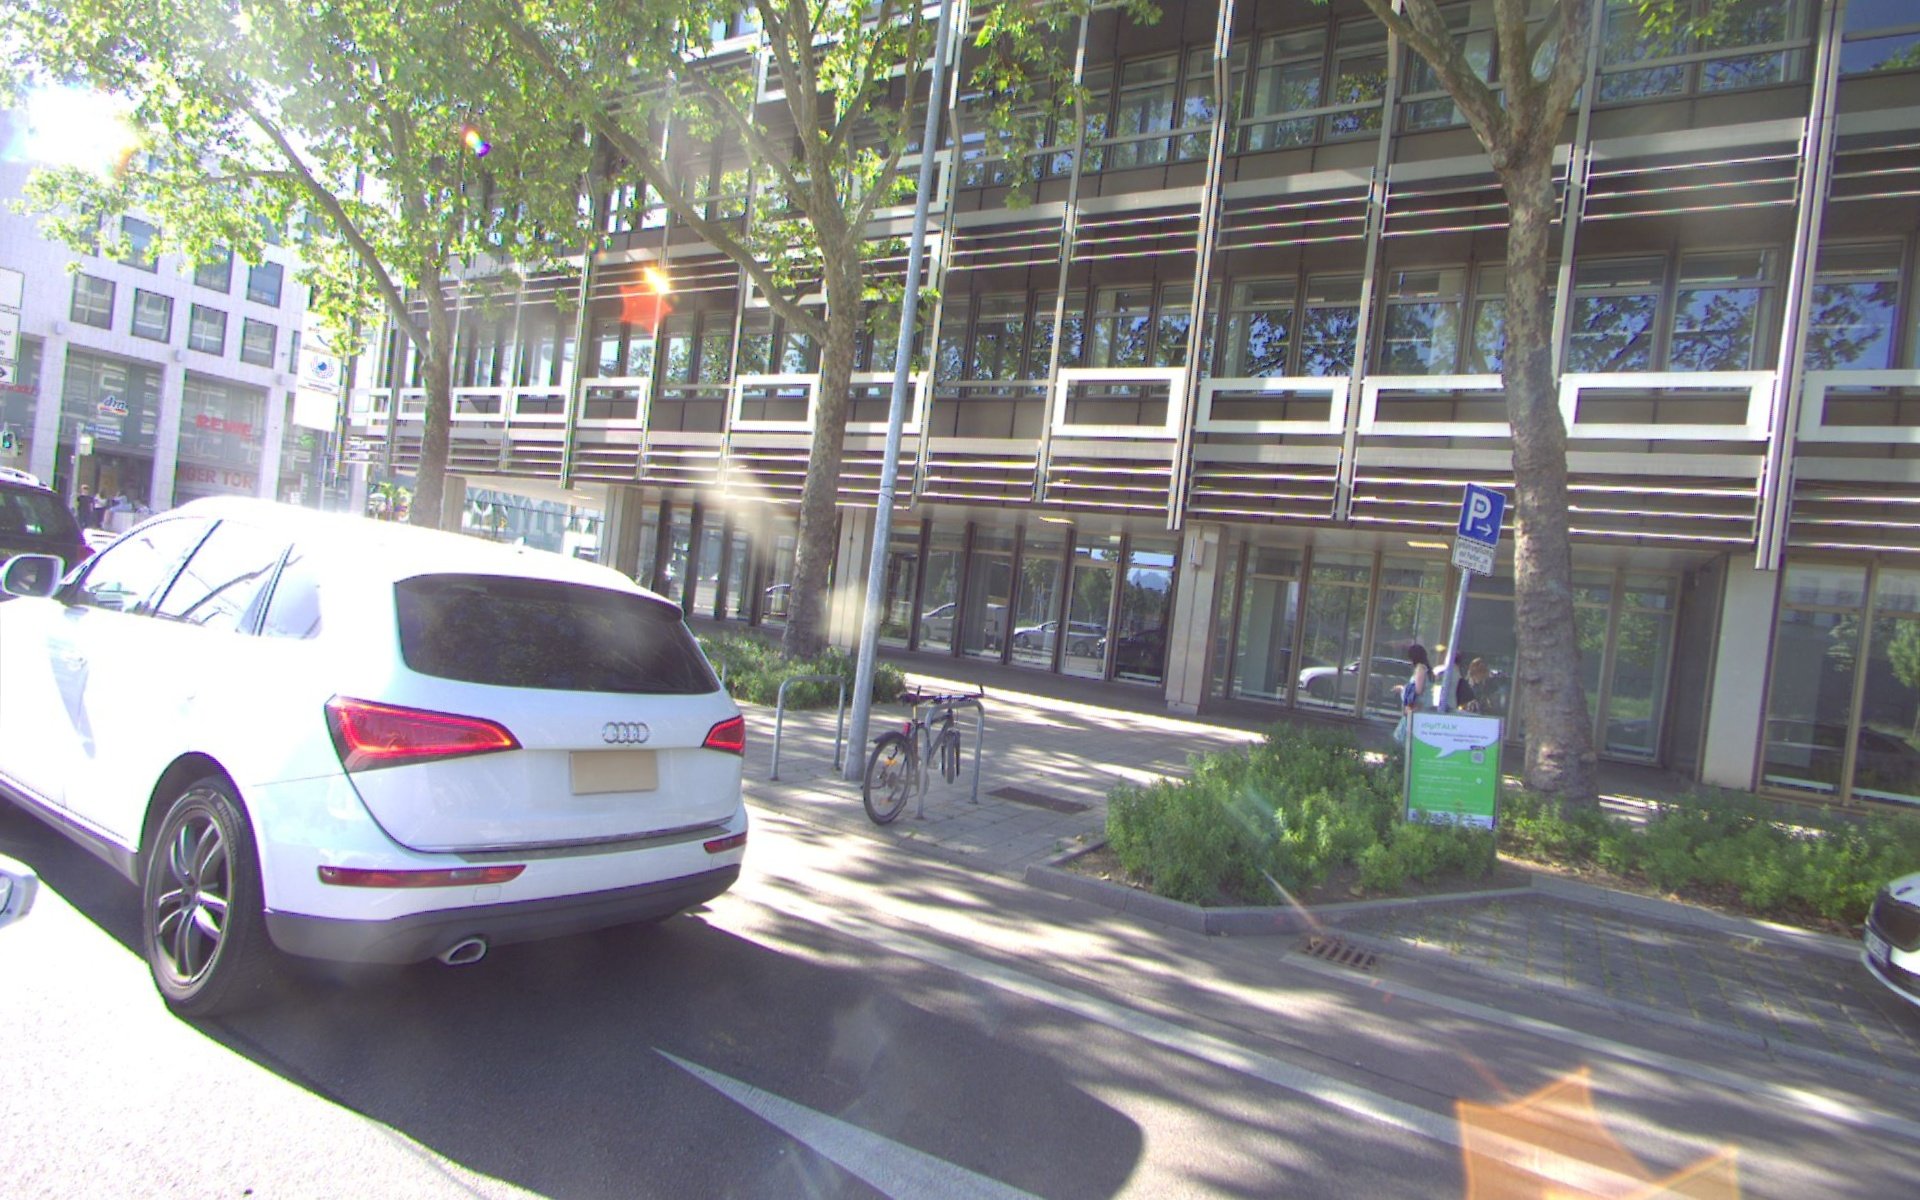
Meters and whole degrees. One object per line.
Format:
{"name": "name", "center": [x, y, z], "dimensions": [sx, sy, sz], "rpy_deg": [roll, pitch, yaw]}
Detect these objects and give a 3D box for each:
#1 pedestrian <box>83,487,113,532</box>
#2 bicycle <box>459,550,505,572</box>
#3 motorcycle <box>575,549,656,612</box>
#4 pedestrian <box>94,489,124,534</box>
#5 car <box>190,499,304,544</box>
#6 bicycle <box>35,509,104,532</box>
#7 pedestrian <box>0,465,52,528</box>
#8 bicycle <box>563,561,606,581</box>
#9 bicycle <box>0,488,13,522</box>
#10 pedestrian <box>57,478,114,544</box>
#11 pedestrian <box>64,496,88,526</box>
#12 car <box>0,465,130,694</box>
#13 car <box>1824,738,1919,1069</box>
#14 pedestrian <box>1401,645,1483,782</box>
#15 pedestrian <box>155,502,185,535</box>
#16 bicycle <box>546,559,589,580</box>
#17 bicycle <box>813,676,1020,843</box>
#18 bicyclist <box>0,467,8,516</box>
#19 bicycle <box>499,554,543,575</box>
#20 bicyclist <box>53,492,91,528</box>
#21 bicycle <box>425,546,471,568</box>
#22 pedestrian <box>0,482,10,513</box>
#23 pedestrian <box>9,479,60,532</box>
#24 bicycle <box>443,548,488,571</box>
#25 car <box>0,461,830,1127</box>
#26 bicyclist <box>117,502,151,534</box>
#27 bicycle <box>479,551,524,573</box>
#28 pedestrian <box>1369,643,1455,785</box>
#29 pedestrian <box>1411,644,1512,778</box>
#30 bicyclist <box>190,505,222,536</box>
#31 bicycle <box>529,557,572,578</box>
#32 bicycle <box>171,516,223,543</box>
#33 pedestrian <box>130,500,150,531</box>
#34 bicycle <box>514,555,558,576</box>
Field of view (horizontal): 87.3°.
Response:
{"name": "pedestrian", "center": [-33.620, -3.515, 39.235], "dimensions": [0.517, 1.634, 0.661], "rpy_deg": [7, 2, 22]}
{"name": "bicycle", "center": [-32.158, -2.599, 67.658], "dimensions": [3.441, 1.107, 1.067], "rpy_deg": [7, 0, 34]}
{"name": "motorcycle", "center": [-9.404, -0.533, 27.457], "dimensions": [2.087, 1.459, 0.824], "rpy_deg": [7, 1, 32]}
{"name": "pedestrian", "center": [-33.025, -3.429, 39.030], "dimensions": [0.517, 1.634, 0.661], "rpy_deg": [7, 2, 22]}
{"name": "car", "center": [-35.323, -3.871, 49.941], "dimensions": [1.831, 1.632, 4.189], "rpy_deg": [5, -1, 33]}
{"name": "bicycle", "center": [-41.705, -3.716, 47.142], "dimensions": [1.055, 0.679, 2.194], "rpy_deg": [7, 0, 35]}
{"name": "pedestrian", "center": [-33.458, -3.677, 35.949], "dimensions": [1.059, 2.038, 0.949], "rpy_deg": [7, 1, 20]}
{"name": "bicycle", "center": [-27.735, -2.142, 74.297], "dimensions": [3.441, 1.107, 1.067], "rpy_deg": [7, 0, 34]}
{"name": "bicycle", "center": [-30.631, -3.064, 31.487], "dimensions": [2.017, 0.997, 0.882], "rpy_deg": [7, 0, 31]}
{"name": "pedestrian", "center": [-29.919, -3.046, 34.415], "dimensions": [1.060, 2.038, 0.949], "rpy_deg": [7, 1, 24]}
{"name": "pedestrian", "center": [-52.073, -5.263, 59.246], "dimensions": [0.737, 1.628, 0.556], "rpy_deg": [7, 1, -5]}
{"name": "car", "center": [-9.118, -0.387, 8.568], "dimensions": [4.339, 1.720, 1.787], "rpy_deg": [7, 0, 32]}
{"name": "car", "center": [7.090, 1.823, 4.515], "dimensions": [4.483, 1.509, 1.749], "rpy_deg": [7, 1, 31]}
{"name": "pedestrian", "center": [6.204, 1.435, 12.948], "dimensions": [0.716, 1.622, 0.666], "rpy_deg": [7, 3, 32]}
{"name": "pedestrian", "center": [-44.763, -4.616, 57.007], "dimensions": [0.846, 1.705, 0.978], "rpy_deg": [7, 1, 29]}
{"name": "bicycle", "center": [-28.393, -2.225, 72.798], "dimensions": [3.441, 1.107, 1.067], "rpy_deg": [7, 0, 34]}
{"name": "bicycle", "center": [-0.272, 1.148, 7.760], "dimensions": [0.699, 0.973, 1.846], "rpy_deg": [7, 2, 26]}
{"name": "bicyclist", "center": [-30.616, -3.469, 31.501], "dimensions": [0.869, 1.495, 0.882], "rpy_deg": [7, 1, 31]}
{"name": "bicycle", "center": [-30.526, -2.483, 69.936], "dimensions": [3.441, 1.107, 1.067], "rpy_deg": [7, 0, 34]}
{"name": "bicyclist", "center": [-41.637, -4.197, 47.173], "dimensions": [1.055, 1.494, 1.022], "rpy_deg": [7, 1, 35]}
{"name": "bicycle", "center": [-33.434, -2.809, 65.704], "dimensions": [3.441, 1.107, 1.067], "rpy_deg": [7, 0, 34]}
{"name": "pedestrian", "center": [-52.109, -5.571, 54.437], "dimensions": [0.547, 1.628, 0.748], "rpy_deg": [8, 2, 30]}
{"name": "pedestrian", "center": [-35.287, -3.595, 38.360], "dimensions": [1.497, 1.825, 0.967], "rpy_deg": [7, 3, 31]}
{"name": "bicycle", "center": [-32.785, -2.692, 66.684], "dimensions": [3.441, 1.107, 1.067], "rpy_deg": [7, 0, 34]}
{"name": "car", "center": [-2.924, 0.392, 4.515], "dimensions": [4.339, 1.633, 1.822], "rpy_deg": [7, 0, 32]}
{"name": "bicyclist", "center": [-40.570, -4.025, 49.390], "dimensions": [1.059, 1.413, 0.933], "rpy_deg": [7, 1, 35]}
{"name": "bicycle", "center": [-31.382, -2.608, 68.873], "dimensions": [3.441, 1.107, 1.067], "rpy_deg": [7, 0, 34]}
{"name": "pedestrian", "center": [5.619, 1.381, 12.498], "dimensions": [0.716, 1.622, 0.666], "rpy_deg": [7, 3, 32]}
{"name": "pedestrian", "center": [6.761, 1.460, 13.556], "dimensions": [0.992, 1.622, 0.666], "rpy_deg": [7, 3, 32]}
{"name": "bicyclist", "center": [-38.904, -4.095, 51.916], "dimensions": [1.024, 1.451, 0.933], "rpy_deg": [7, 1, 35]}
{"name": "bicycle", "center": [-29.330, -2.330, 72.024], "dimensions": [3.441, 1.107, 1.067], "rpy_deg": [7, 0, 34]}
{"name": "bicycle", "center": [-41.017, -3.788, 54.053], "dimensions": [3.440, 1.107, 1.067], "rpy_deg": [7, 0, 33]}
{"name": "pedestrian", "center": [-50.635, -5.230, 62.105], "dimensions": [0.639, 1.785, 0.556], "rpy_deg": [7, 1, -5]}
{"name": "bicycle", "center": [-29.942, -2.410, 71.023], "dimensions": [3.441, 1.107, 1.067], "rpy_deg": [7, 0, 34]}
